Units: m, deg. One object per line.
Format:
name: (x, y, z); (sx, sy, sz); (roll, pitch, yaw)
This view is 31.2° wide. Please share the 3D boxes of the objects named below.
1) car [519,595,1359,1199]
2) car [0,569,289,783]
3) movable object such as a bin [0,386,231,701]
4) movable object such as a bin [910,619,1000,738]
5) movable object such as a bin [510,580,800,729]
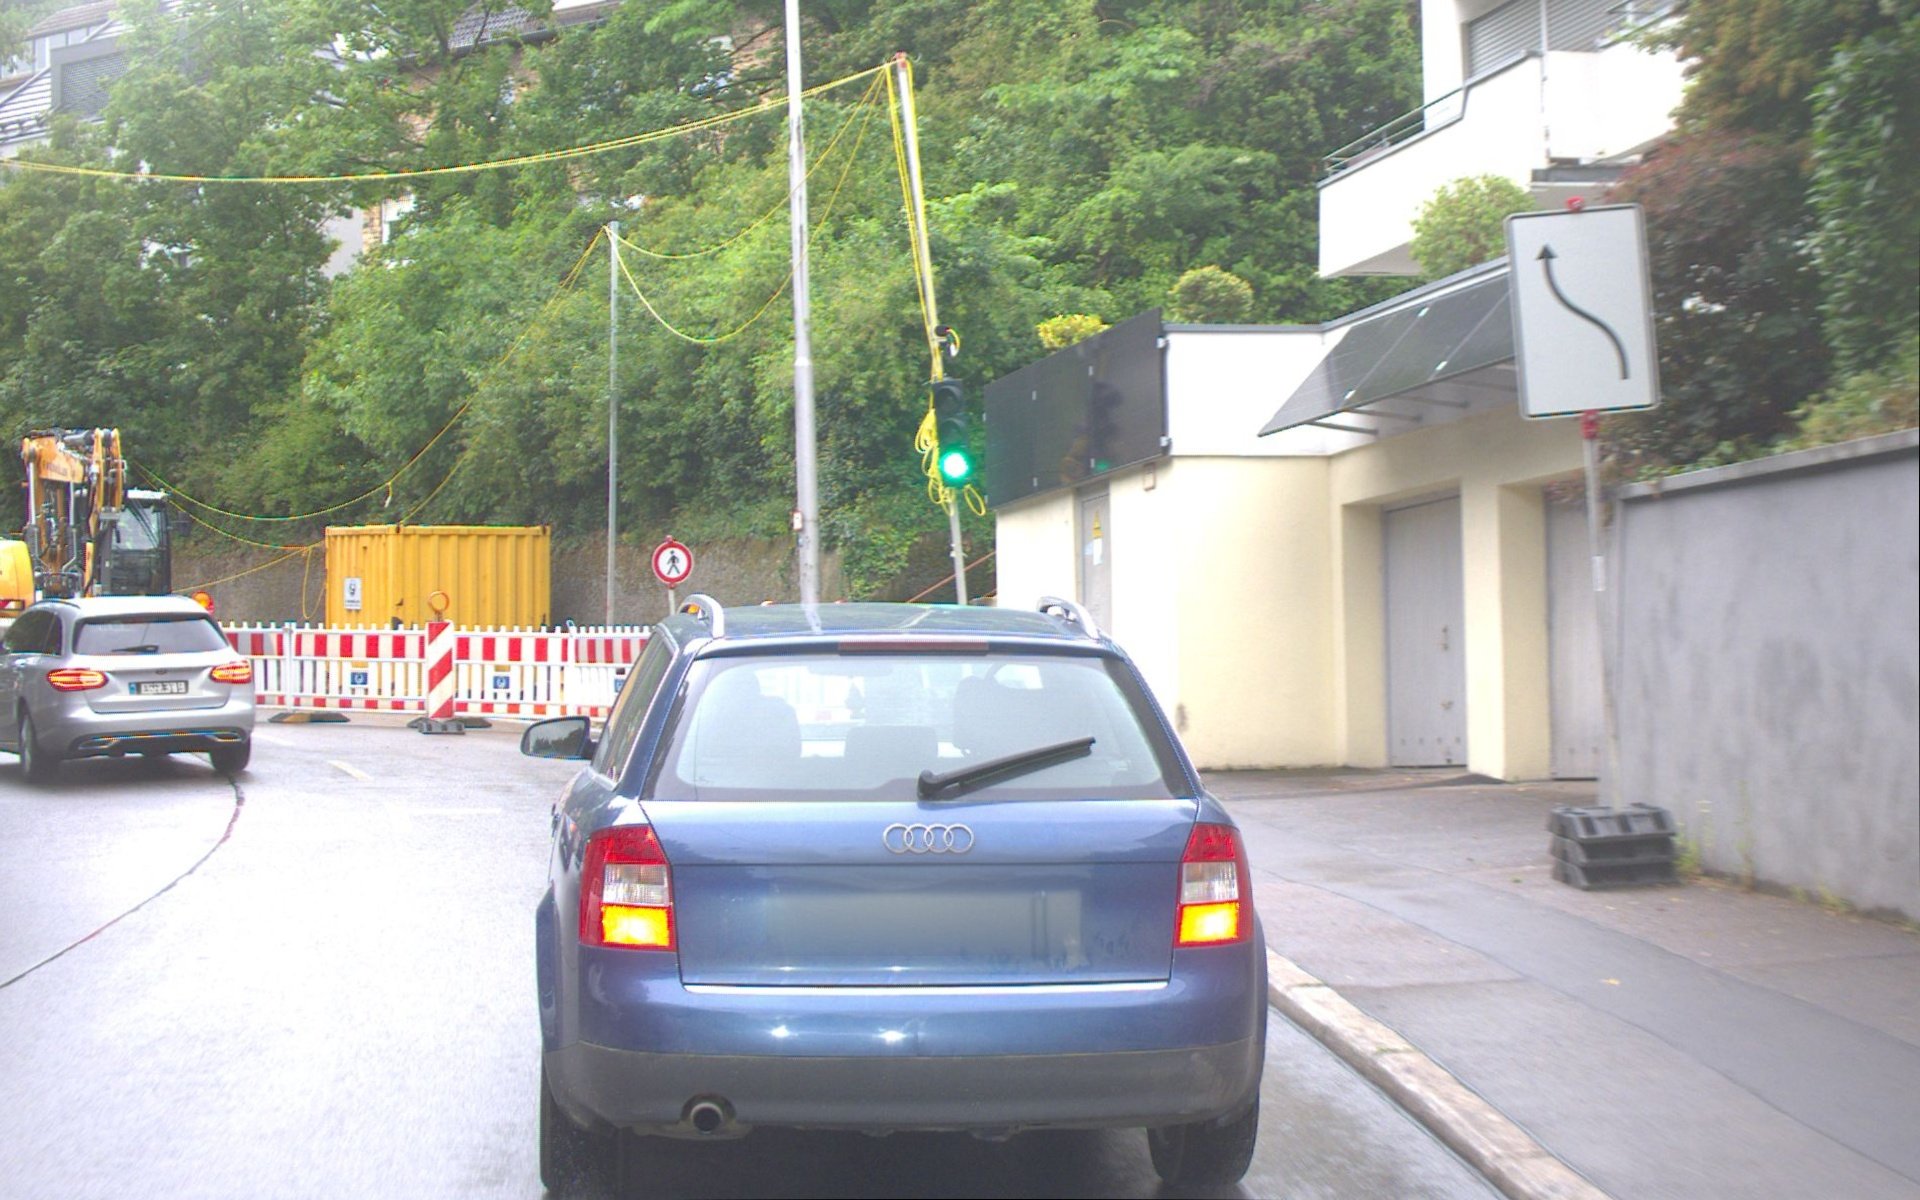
car: (-0.241, 0.728, 9.330); (1.785, 1.437, 3.964); (-1, 0, -6)
car: (-7.141, 0.564, 28.804); (1.926, 1.612, 4.321); (-1, 1, -26)
movable object such as a bin: (-12.371, -0.781, 47.702); (2.819, 4.000, 7.328); (-1, 1, -25)
movable object such as a bin: (-0.047, 0.692, 30.710); (0.719, 1.028, 0.592); (-1, 0, -7)
movable object such as a bin: (-3.456, 0.559, 38.241); (1.993, 1.514, 4.001); (0, 1, -24)
